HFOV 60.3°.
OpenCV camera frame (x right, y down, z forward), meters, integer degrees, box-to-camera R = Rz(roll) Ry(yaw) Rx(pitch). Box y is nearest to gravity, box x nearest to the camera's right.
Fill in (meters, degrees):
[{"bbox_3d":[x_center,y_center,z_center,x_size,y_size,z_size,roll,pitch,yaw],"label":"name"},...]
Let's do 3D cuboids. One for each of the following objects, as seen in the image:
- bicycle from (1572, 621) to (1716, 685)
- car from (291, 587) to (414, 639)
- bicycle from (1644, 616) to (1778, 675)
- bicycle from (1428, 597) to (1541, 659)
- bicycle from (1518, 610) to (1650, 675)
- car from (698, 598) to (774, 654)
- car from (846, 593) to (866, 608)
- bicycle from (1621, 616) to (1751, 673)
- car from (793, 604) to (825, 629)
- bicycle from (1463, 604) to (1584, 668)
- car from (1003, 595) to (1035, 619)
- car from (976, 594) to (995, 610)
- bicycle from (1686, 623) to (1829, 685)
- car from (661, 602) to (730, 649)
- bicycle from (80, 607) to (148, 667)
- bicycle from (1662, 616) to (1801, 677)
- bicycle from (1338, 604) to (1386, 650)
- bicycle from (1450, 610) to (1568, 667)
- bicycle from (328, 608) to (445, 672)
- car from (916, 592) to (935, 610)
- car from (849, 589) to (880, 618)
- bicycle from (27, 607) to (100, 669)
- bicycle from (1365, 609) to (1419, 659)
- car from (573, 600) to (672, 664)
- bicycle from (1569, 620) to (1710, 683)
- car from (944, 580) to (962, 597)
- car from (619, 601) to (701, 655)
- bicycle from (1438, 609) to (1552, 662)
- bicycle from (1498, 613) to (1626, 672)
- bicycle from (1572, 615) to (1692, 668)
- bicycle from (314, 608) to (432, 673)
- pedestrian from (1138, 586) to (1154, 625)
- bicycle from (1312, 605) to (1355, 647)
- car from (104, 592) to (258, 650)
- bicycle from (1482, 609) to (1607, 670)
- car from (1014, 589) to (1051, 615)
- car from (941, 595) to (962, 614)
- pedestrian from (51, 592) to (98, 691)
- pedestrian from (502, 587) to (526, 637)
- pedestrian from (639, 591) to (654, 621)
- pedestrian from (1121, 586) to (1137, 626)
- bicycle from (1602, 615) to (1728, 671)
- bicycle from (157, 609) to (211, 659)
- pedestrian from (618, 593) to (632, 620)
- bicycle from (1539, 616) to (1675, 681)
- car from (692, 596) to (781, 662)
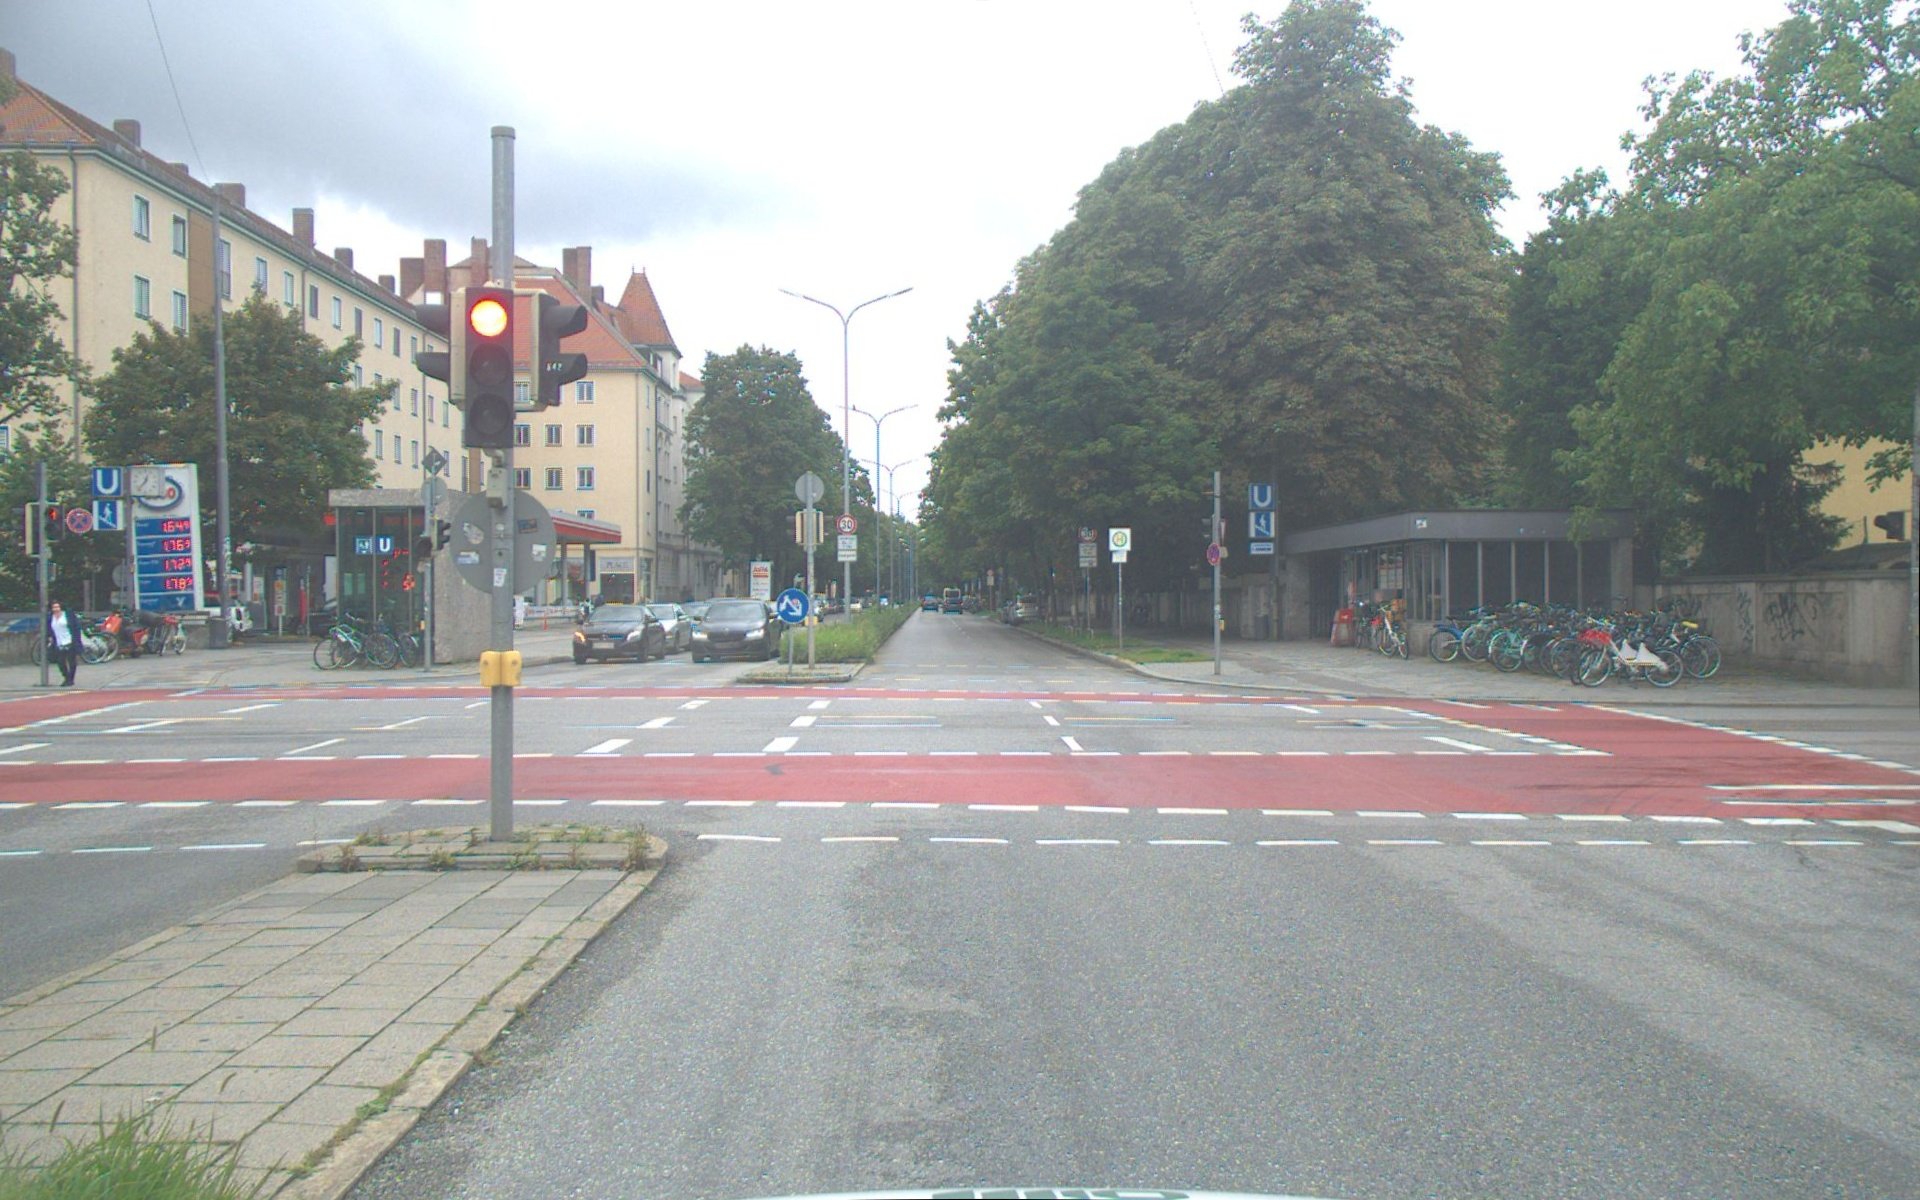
[{"bbox_3d":[11.226,0.871,27.183,2.097,1.032,0.603,0,0,7],"label":"bicycle"},{"bbox_3d":[-22.478,0.462,61.304,3.908,1.870,1.879,0,0,-4],"label":"car"},{"bbox_3d":[13.478,0.815,29.719,2.097,1.032,0.634,0,0,7],"label":"bicycle"},{"bbox_3d":[10.684,0.566,33.736,2.097,1.240,0.603,0,0,7],"label":"bicycle"},{"bbox_3d":[11.030,0.753,29.263,2.097,1.120,0.603,0,0,7],"label":"bicycle"},{"bbox_3d":[-6.462,0.718,48.053,1.724,1.519,3.999,0,0,-1],"label":"car"},{"bbox_3d":[-10.147,0.058,161.551,1.724,1.486,3.999,0,0,-1],"label":"car"},{"bbox_3d":[13.383,0.815,30.511,2.097,1.032,0.634,0,0,7],"label":"bicycle"},{"bbox_3d":[-9.654,1.030,105.932,1.724,1.519,3.999,0,0,-1],"label":"car"},{"bbox_3d":[10.694,0.682,31.439,2.097,1.199,0.603,0,0,7],"label":"bicycle"},{"bbox_3d":[3.516,0.428,99.883,1.708,1.387,3.805,0,0,-1],"label":"car"},{"bbox_3d":[2.442,0.173,159.283,1.708,1.452,3.898,0,0,-1],"label":"car"},{"bbox_3d":[13.552,0.910,28.155,2.097,1.032,0.634,0,0,7],"label":"bicycle"},{"bbox_3d":[-8.785,0.820,55.258,1.724,1.486,3.999,0,0,-1],"label":"car"},{"bbox_3d":[-18.421,0.782,36.042,0.596,1.257,2.183,0,0,-7],"label":"bicycle"},{"bbox_3d":[13.486,0.810,28.952,2.097,1.032,0.634,0,0,7],"label":"bicycle"},{"bbox_3d":[9.447,0.624,38.965,0.545,1.032,2.014,0,0,-3],"label":"bicycle"},{"bbox_3d":[10.652,0.743,32.140,2.097,1.080,0.603,0,0,7],"label":"bicycle"},{"bbox_3d":[-12.285,0.849,35.458,2.238,1.327,0.694,0,0,0],"label":"bicycle"},{"bbox_3d":[-3.520,0.088,168.647,1.819,1.713,3.999,0,0,-1],"label":"car"},{"bbox_3d":[-4.907,0.170,85.192,1.438,1.423,3.699,0,0,-1],"label":"car"},{"bbox_3d":[-19.051,0.786,35.202,0.596,1.257,2.183,0,0,-7],"label":"bicycle"},{"bbox_3d":[9.446,0.724,36.231,0.545,1.032,2.014,0,0,-3],"label":"bicycle"},{"bbox_3d":[-8.391,0.754,41.376,1.724,1.486,3.999,0,0,-1],"label":"car"},{"bbox_3d":[11.410,0.858,27.811,2.097,1.032,0.634,0,0,7],"label":"bicycle"},{"bbox_3d":[-0.772,-1.290,186.924,1.953,1.787,3.999,0,0,-2],"label":"car"},{"bbox_3d":[-8.684,0.782,48.177,1.724,1.486,3.999,0,0,-1],"label":"car"},{"bbox_3d":[10.664,0.713,33.021,2.097,1.032,0.603,0,0,7],"label":"bicycle"},{"bbox_3d":[10.890,0.767,29.975,2.097,1.032,0.603,0,0,7],"label":"bicycle"},{"bbox_3d":[13.343,0.827,32.877,2.097,1.032,0.634,0,0,7],"label":"bicycle"},{"bbox_3d":[-12.295,0.836,34.678,2.225,1.327,0.704,0,0,0],"label":"bicycle"},{"bbox_3d":[8.129,0.238,72.144,0.663,1.712,0.683,0,0,5],"label":"pedestrian"},{"bbox_3d":[9.539,0.649,42.343,0.545,1.032,2.014,0,0,-3],"label":"bicycle"},{"bbox_3d":[-23.134,0.603,49.243,3.891,1.637,1.808,0,0,-17],"label":"car"},{"bbox_3d":[10.837,0.731,30.704,2.097,1.105,0.603,0,0,7],"label":"bicycle"},{"bbox_3d":[3.916,0.112,89.772,1.708,1.387,3.805,0,0,-1],"label":"car"},{"bbox_3d":[-0.764,0.438,153.337,1.884,1.713,3.999,0,0,-1],"label":"car"},{"bbox_3d":[-15.538,0.723,29.041,0.523,1.725,0.577,0,0,-3],"label":"pedestrian"},{"bbox_3d":[-18.766,0.508,69.600,0.715,2.049,0.834,1,-1,-1],"label":"pedestrian"},{"bbox_3d":[-17.374,0.310,91.693,0.682,1.666,0.738,0,0,-1],"label":"pedestrian"},{"bbox_3d":[7.374,0.261,72.184,0.663,1.712,0.683,0,0,5],"label":"pedestrian"},{"bbox_3d":[13.316,0.816,31.295,2.097,1.032,0.634,0,0,7],"label":"bicycle"},{"bbox_3d":[-18.835,0.805,40.180,0.596,1.165,1.962,0,0,-7],"label":"bicycle"},{"bbox_3d":[-20.360,0.395,100.513,0.682,1.666,0.738,0,0,-1],"label":"pedestrian"},{"bbox_3d":[11.177,0.833,28.611,2.097,1.089,0.603,0,0,7],"label":"bicycle"},{"bbox_3d":[-5.417,0.670,40.495,1.724,1.519,3.999,0,0,-1],"label":"car"}]
